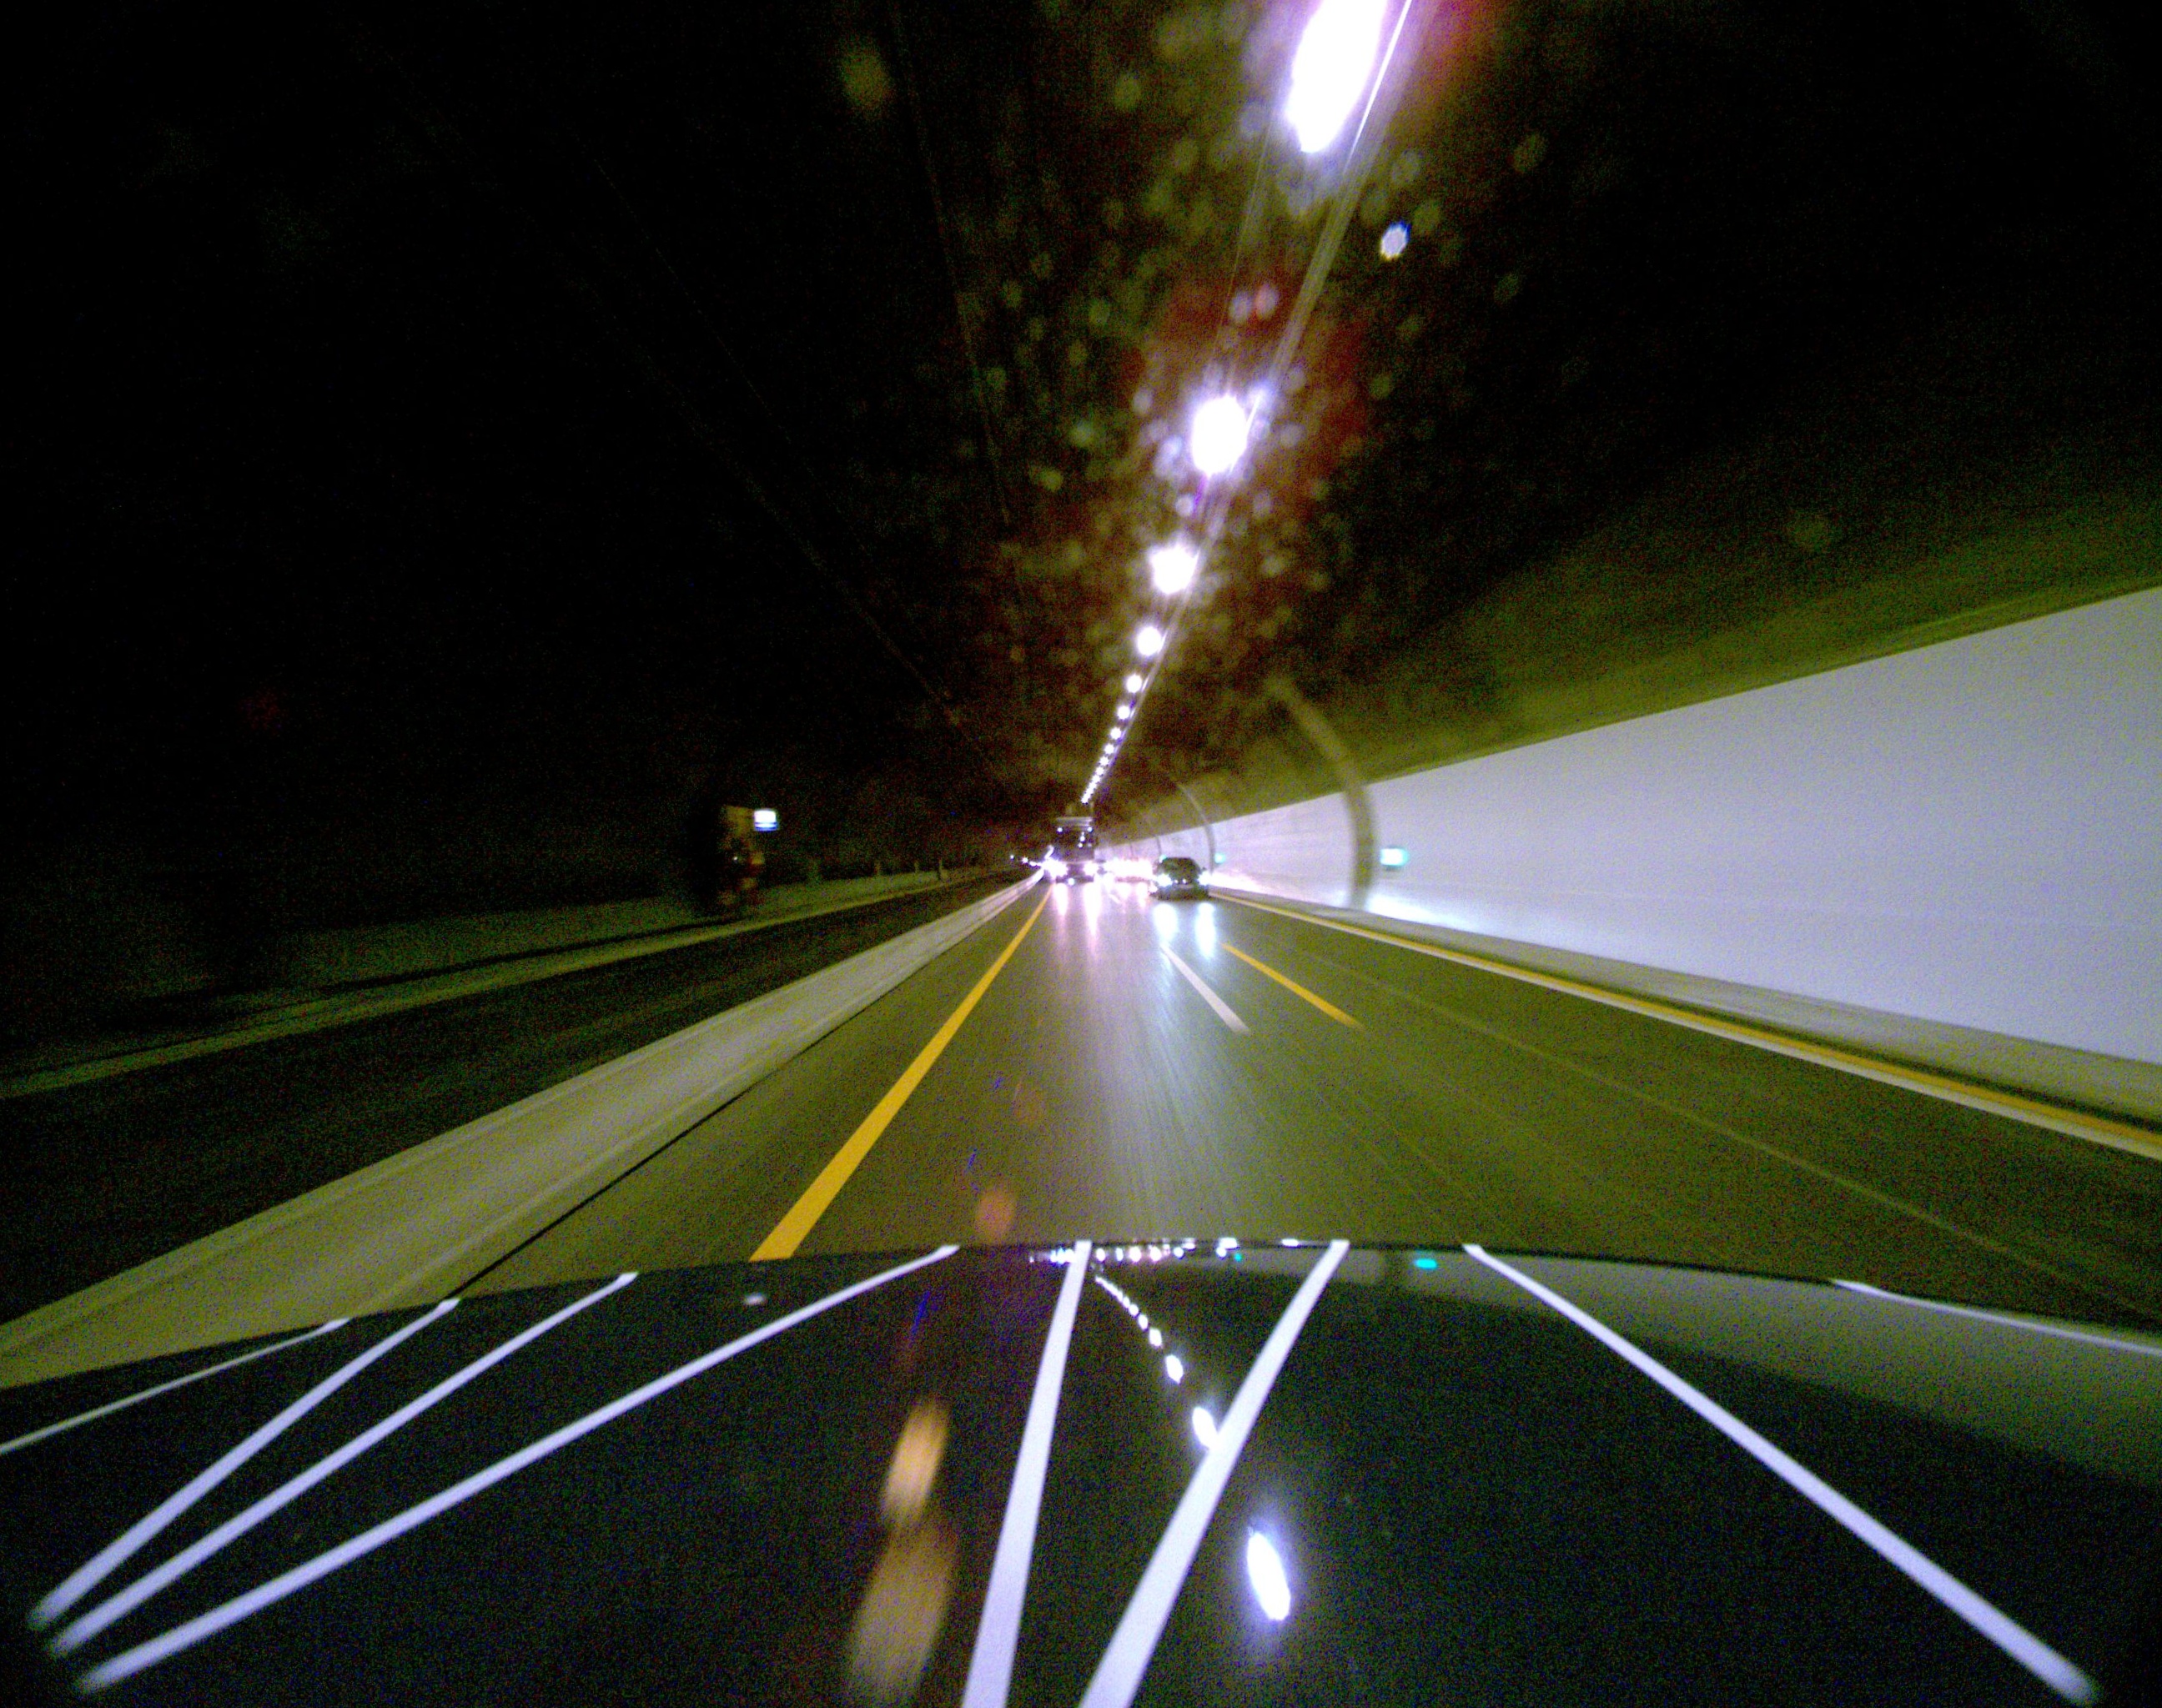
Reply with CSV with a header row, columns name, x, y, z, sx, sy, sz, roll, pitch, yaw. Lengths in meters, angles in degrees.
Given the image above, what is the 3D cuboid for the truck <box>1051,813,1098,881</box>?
name,x,y,z,sx,sy,sz,roll,pitch,yaw
truck,-0.481,-0.450,51.130,2.742,4.127,8.099,-2,0,-1

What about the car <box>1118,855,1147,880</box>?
name,x,y,z,sx,sy,sz,roll,pitch,yaw
car,3.158,0.812,47.222,1.531,1.508,2.651,-2,0,-1

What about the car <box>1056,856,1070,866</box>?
name,x,y,z,sx,sy,sz,roll,pitch,yaw
car,-2.856,1.086,118.225,1.999,1.524,3.999,-2,0,-2

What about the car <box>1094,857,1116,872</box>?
name,x,y,z,sx,sy,sz,roll,pitch,yaw
car,2.310,1.026,74.939,1.909,1.412,4.060,-2,0,-1

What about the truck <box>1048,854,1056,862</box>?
name,x,y,z,sx,sy,sz,roll,pitch,yaw
truck,-9.664,1.372,254.552,2.610,2.723,6.396,-2,0,-2

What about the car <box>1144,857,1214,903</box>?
name,x,y,z,sx,sy,sz,roll,pitch,yaw
car,3.470,0.880,27.709,1.782,1.430,4.882,-2,0,-1
